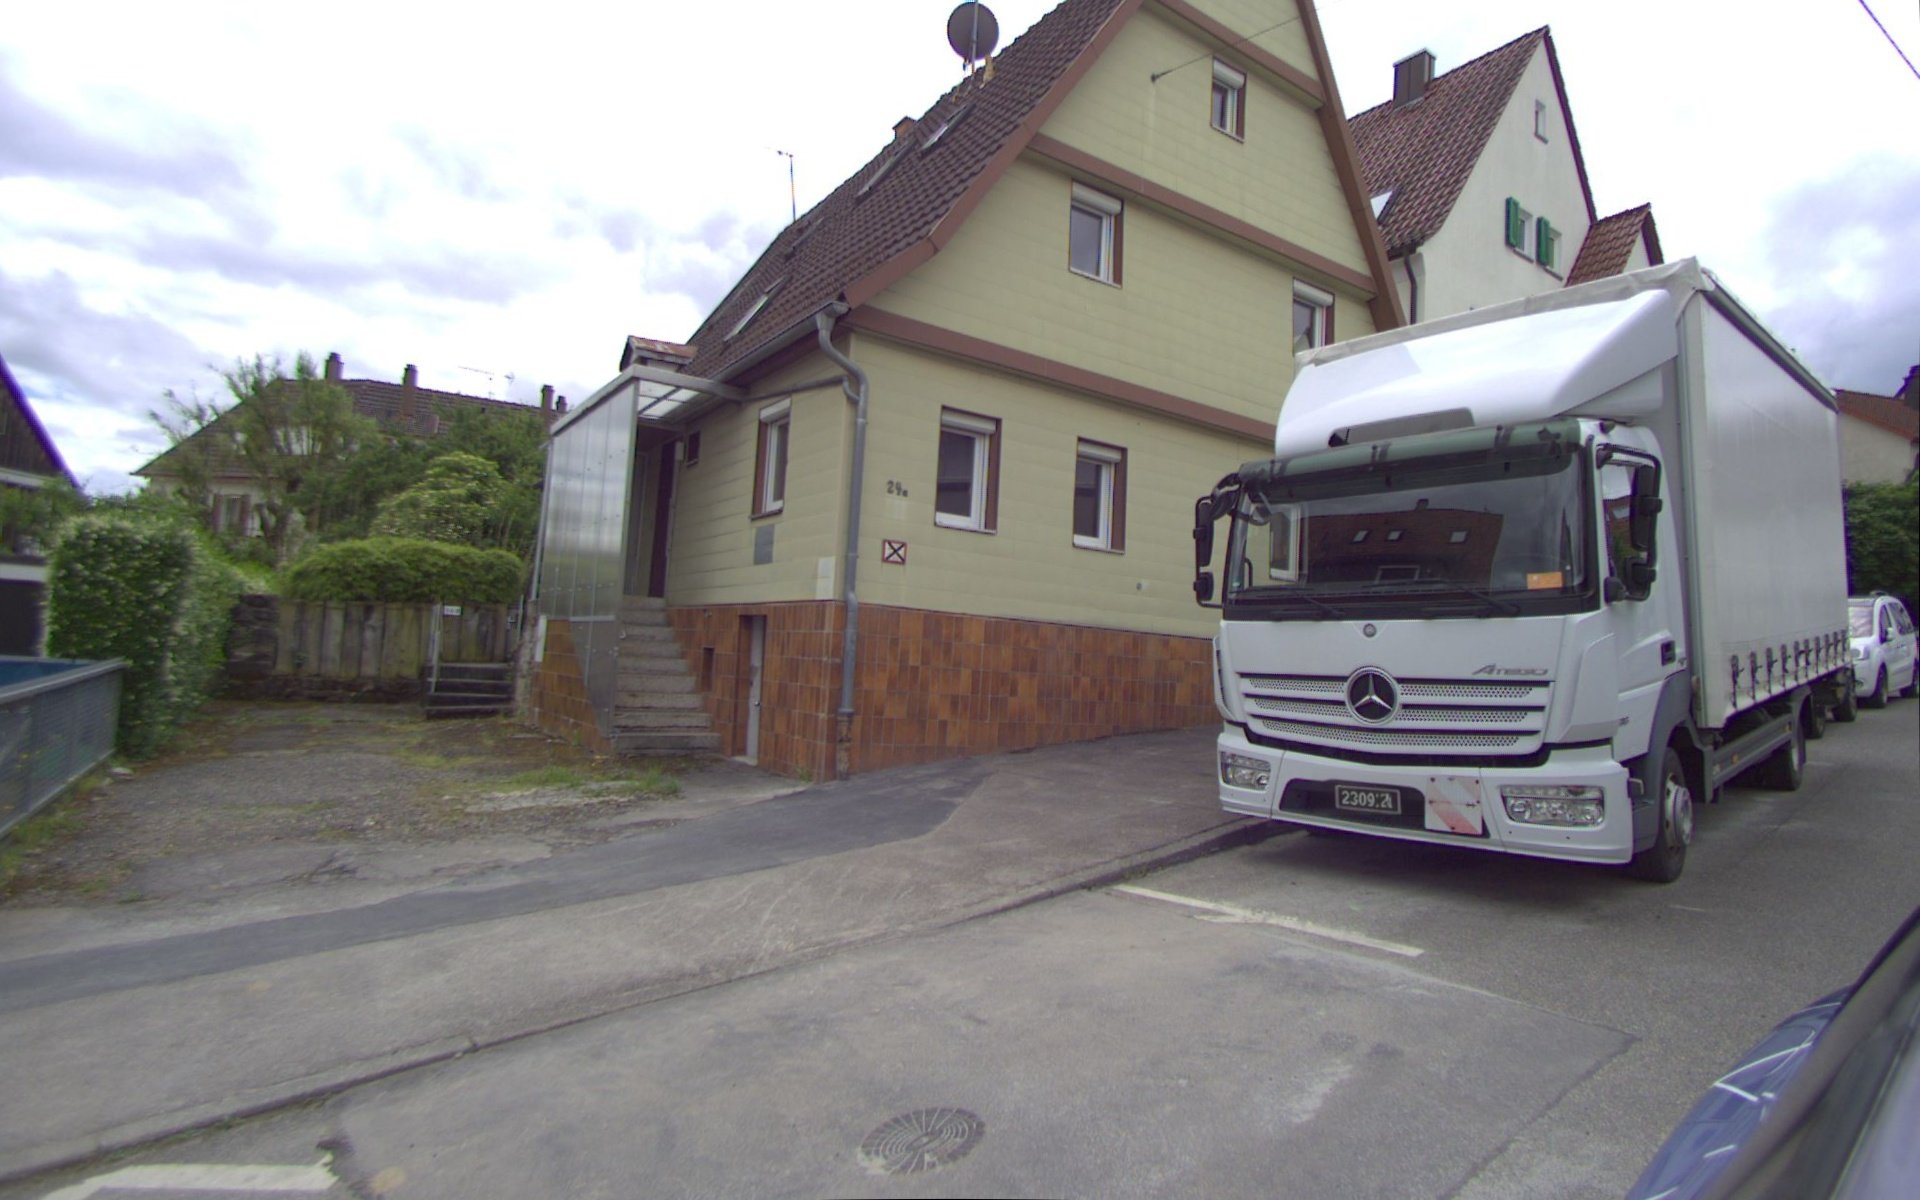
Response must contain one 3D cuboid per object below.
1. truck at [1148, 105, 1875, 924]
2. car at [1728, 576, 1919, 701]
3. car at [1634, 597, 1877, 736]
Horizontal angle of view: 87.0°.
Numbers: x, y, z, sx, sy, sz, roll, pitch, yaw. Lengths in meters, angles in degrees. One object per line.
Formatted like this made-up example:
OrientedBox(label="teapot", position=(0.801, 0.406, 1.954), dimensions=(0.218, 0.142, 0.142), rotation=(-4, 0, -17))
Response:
OrientedBox(label="truck", position=(5.056, -0.337, 8.192), dimensions=(7.967, 3.644, 2.678), rotation=(1, -2, -43))
OrientedBox(label="car", position=(14.635, 0.616, 16.854), dimensions=(4.225, 1.838, 1.839), rotation=(1, -3, -38))
OrientedBox(label="car", position=(10.500, 0.776, 13.260), dimensions=(3.980, 1.526, 1.735), rotation=(0, -3, -41))
